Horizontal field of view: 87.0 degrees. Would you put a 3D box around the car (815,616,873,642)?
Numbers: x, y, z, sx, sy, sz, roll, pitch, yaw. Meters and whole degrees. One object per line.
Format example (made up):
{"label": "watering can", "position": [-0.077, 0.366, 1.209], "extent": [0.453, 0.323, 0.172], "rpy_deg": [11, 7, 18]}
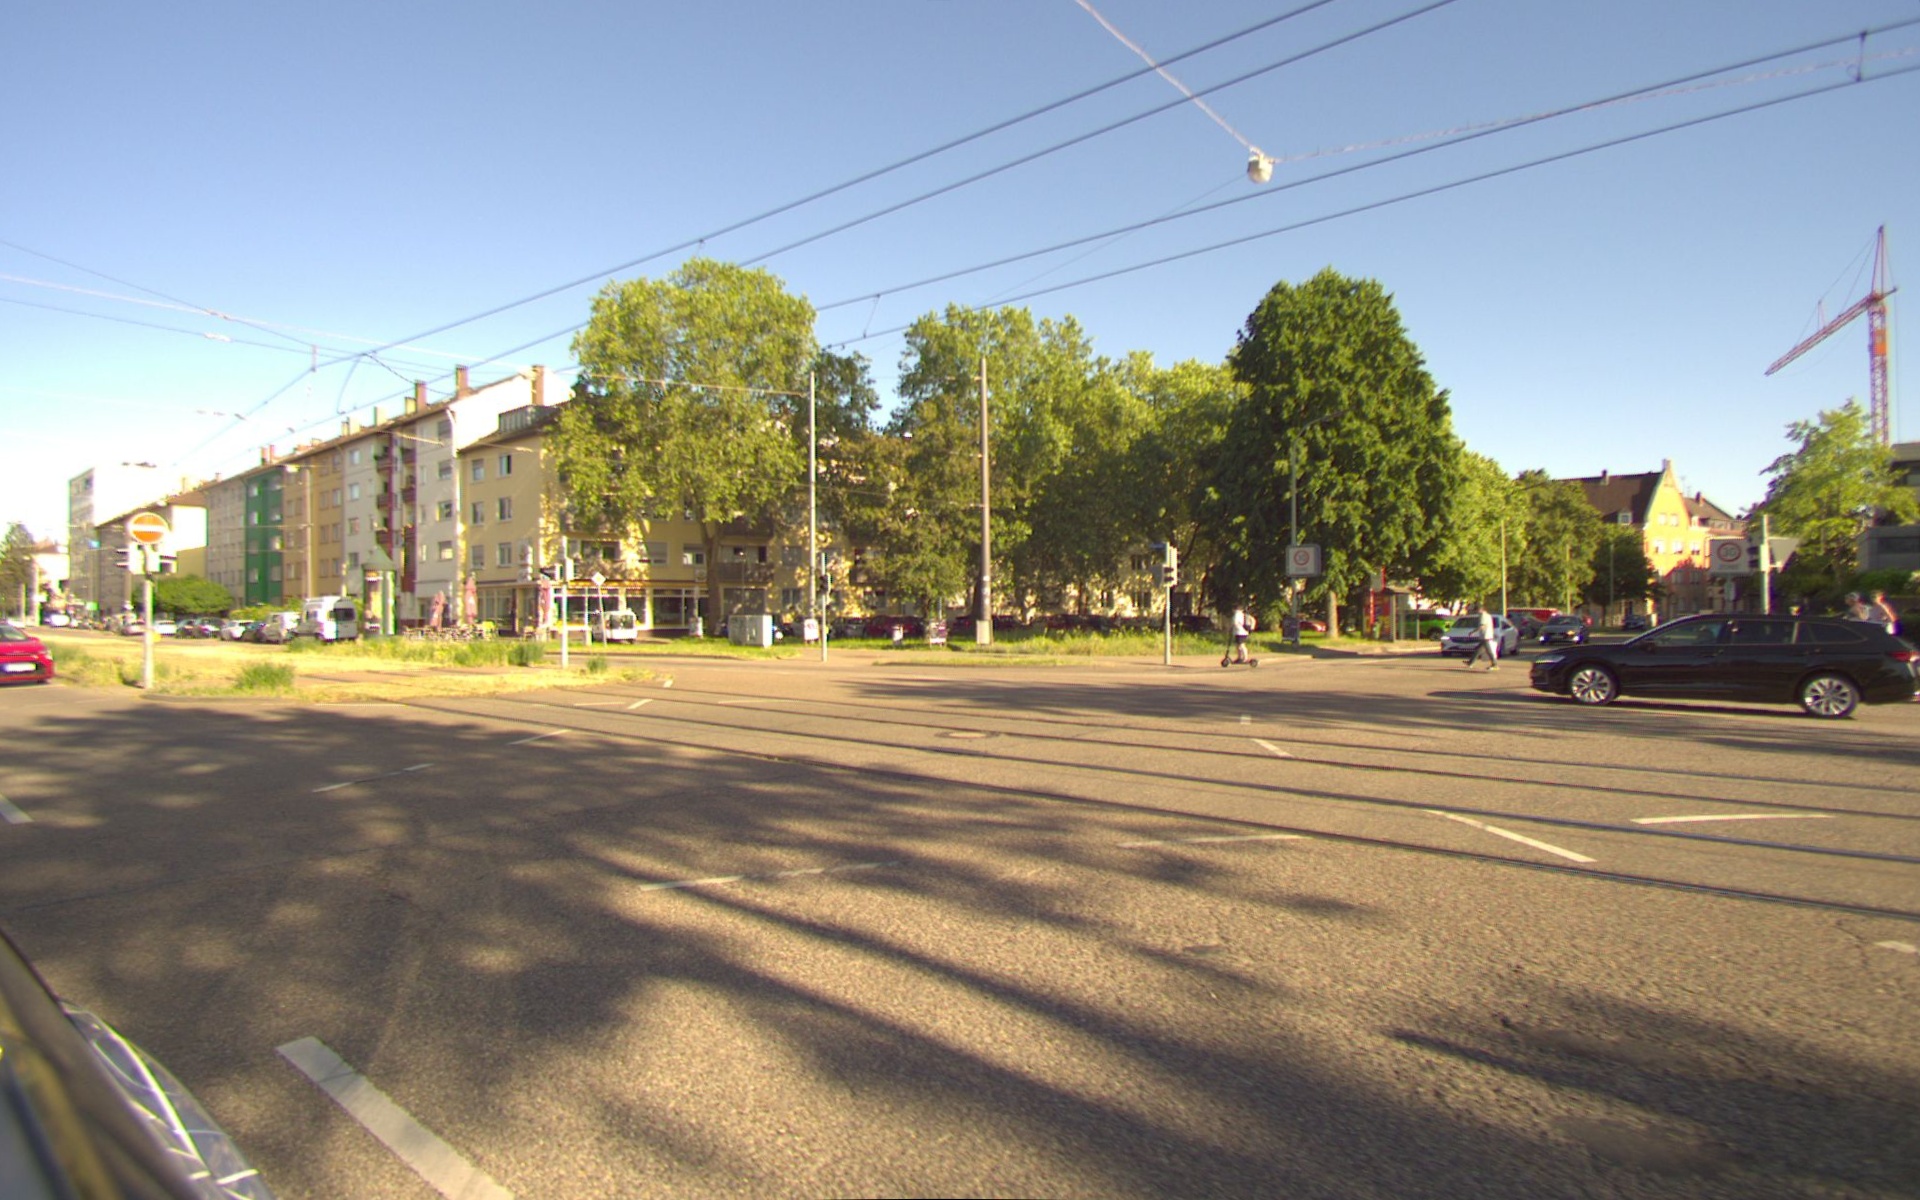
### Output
{"label": "car", "position": [-7.580, 1.857, 65.857], "extent": [1.967, 1.564, 3.943], "rpy_deg": [0, -1, -37]}

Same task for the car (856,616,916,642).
{"label": "car", "position": [-4.072, 1.535, 54.906], "extent": [1.616, 1.318, 4.012], "rpy_deg": [1, -1, -31]}

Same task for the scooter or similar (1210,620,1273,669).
{"label": "scooter or similar", "position": [7.752, 1.211, 27.894], "extent": [1.538, 1.319, 0.591], "rpy_deg": [-1, -1, 37]}

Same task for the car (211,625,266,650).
{"label": "car", "position": [-51.787, 2.663, 72.599], "extent": [5.156, 1.720, 2.117], "rpy_deg": [-1, -1, 42]}

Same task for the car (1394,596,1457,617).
{"label": "car", "position": [35.581, 0.516, 77.427], "extent": [1.966, 1.564, 3.946], "rpy_deg": [0, -1, -31]}

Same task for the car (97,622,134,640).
{"label": "car", "position": [-85.746, 3.099, 102.771], "extent": [5.400, 1.720, 2.117], "rpy_deg": [-1, -1, 42]}

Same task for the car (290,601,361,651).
{"label": "car", "position": [-37.646, 1.527, 59.984], "extent": [5.227, 2.846, 2.202], "rpy_deg": [-1, -1, 42]}

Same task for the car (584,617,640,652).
{"label": "car", "position": [-20.157, 1.954, 58.513], "extent": [1.882, 1.896, 4.009], "rpy_deg": [0, -1, -37]}

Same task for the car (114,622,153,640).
{"label": "car", "position": [-80.405, 2.990, 98.458], "extent": [5.400, 1.720, 2.117], "rpy_deg": [-1, -1, 42]}

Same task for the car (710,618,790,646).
{"label": "car", "position": [-11.338, 1.699, 54.783], "extent": [3.930, 1.448, 1.723], "rpy_deg": [1, -1, -26]}

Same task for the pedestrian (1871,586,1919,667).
{"label": "pedestrian", "position": [20.024, 0.561, 21.607], "extent": [0.746, 1.694, 0.589], "rpy_deg": [-1, -1, 36]}

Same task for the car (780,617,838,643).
{"label": "car", "position": [-9.654, 1.900, 64.559], "extent": [1.967, 1.564, 3.943], "rpy_deg": [0, -1, -37]}

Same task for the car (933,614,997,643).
{"label": "car", "position": [0.292, 1.743, 63.086], "extent": [1.967, 1.718, 3.943], "rpy_deg": [0, -1, -37]}

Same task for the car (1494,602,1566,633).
{"label": "car", "position": [39.382, 1.201, 69.926], "extent": [3.997, 2.029, 1.973], "rpy_deg": [-1, 0, 41]}

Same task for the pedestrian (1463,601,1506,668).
{"label": "pedestrian", "position": [13.549, 0.886, 26.147], "extent": [0.878, 1.708, 0.589], "rpy_deg": [-1, -1, 36]}

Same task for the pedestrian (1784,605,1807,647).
{"label": "pedestrian", "position": [29.901, 0.936, 36.222], "extent": [0.547, 1.478, 0.857], "rpy_deg": [-1, -1, 43]}

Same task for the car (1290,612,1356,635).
{"label": "car", "position": [25.624, 1.630, 71.505], "extent": [1.967, 1.564, 3.943], "rpy_deg": [0, -1, -37]}

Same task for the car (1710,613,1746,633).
{"label": "car", "position": [61.637, 1.837, 81.183], "extent": [1.999, 1.473, 4.467], "rpy_deg": [-1, -1, 41]}

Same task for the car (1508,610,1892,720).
{"label": "car", "position": [11.177, 0.911, 15.623], "extent": [4.522, 1.453, 1.931], "rpy_deg": [-1, -1, 38]}

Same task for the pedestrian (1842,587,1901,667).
{"label": "pedestrian", "position": [20.229, 0.586, 22.470], "extent": [0.878, 1.736, 0.589], "rpy_deg": [-1, -1, 36]}

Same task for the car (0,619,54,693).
{"label": "car", "position": [-21.936, 1.224, 22.263], "extent": [3.577, 1.542, 1.533], "rpy_deg": [-1, 1, 21]}

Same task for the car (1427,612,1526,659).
{"label": "car", "position": [17.820, 1.188, 34.807], "extent": [1.999, 1.497, 4.467], "rpy_deg": [-1, -1, 41]}

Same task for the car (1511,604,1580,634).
{"label": "car", "position": [42.419, 1.374, 73.363], "extent": [3.997, 2.029, 1.973], "rpy_deg": [-1, 0, 41]}

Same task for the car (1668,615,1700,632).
{"label": "car", "position": [67.930, 2.170, 94.945], "extent": [1.999, 1.567, 4.467], "rpy_deg": [-2, -2, 41]}

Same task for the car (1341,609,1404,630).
{"label": "car", "position": [30.943, 1.446, 76.030], "extent": [1.967, 1.564, 3.943], "rpy_deg": [0, -1, -37]}

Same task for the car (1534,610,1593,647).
{"label": "car", "position": [29.581, 1.374, 49.553], "extent": [1.786, 1.728, 3.945], "rpy_deg": [-1, -1, 41]}

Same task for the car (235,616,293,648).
{"label": "car", "position": [-47.145, 2.154, 68.505], "extent": [4.863, 2.050, 2.117], "rpy_deg": [-1, -1, 42]}

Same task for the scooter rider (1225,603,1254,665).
{"label": "scooter rider", "position": [7.715, 0.933, 27.928], "extent": [0.572, 1.708, 0.589], "rpy_deg": [-1, -1, 35]}

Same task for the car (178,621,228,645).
{"label": "car", "position": [-59.217, 2.554, 79.106], "extent": [5.444, 1.720, 2.117], "rpy_deg": [-1, -1, 42]}

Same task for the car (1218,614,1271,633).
{"label": "car", "position": [23.822, 1.971, 84.801], "extent": [1.967, 1.564, 3.943], "rpy_deg": [0, -1, -37]}

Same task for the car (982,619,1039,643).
{"label": "car", "position": [3.588, 2.170, 71.844], "extent": [1.967, 1.564, 3.943], "rpy_deg": [0, -1, -37]}

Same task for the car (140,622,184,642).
{"label": "car", "position": [-70.660, 2.789, 89.592], "extent": [5.444, 1.720, 2.117], "rpy_deg": [-1, -1, 42]}

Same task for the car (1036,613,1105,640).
{"label": "car", "position": [6.665, 1.599, 61.291], "extent": [1.967, 1.564, 3.943], "rpy_deg": [0, -1, -37]}

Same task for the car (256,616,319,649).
{"label": "car", "position": [-43.023, 2.043, 64.701], "extent": [5.156, 2.050, 2.117], "rpy_deg": [-1, -1, 42]}

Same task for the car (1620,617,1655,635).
{"label": "car", "position": [59.820, 2.308, 89.317], "extent": [1.999, 1.567, 4.467], "rpy_deg": [-2, -2, 41]}
